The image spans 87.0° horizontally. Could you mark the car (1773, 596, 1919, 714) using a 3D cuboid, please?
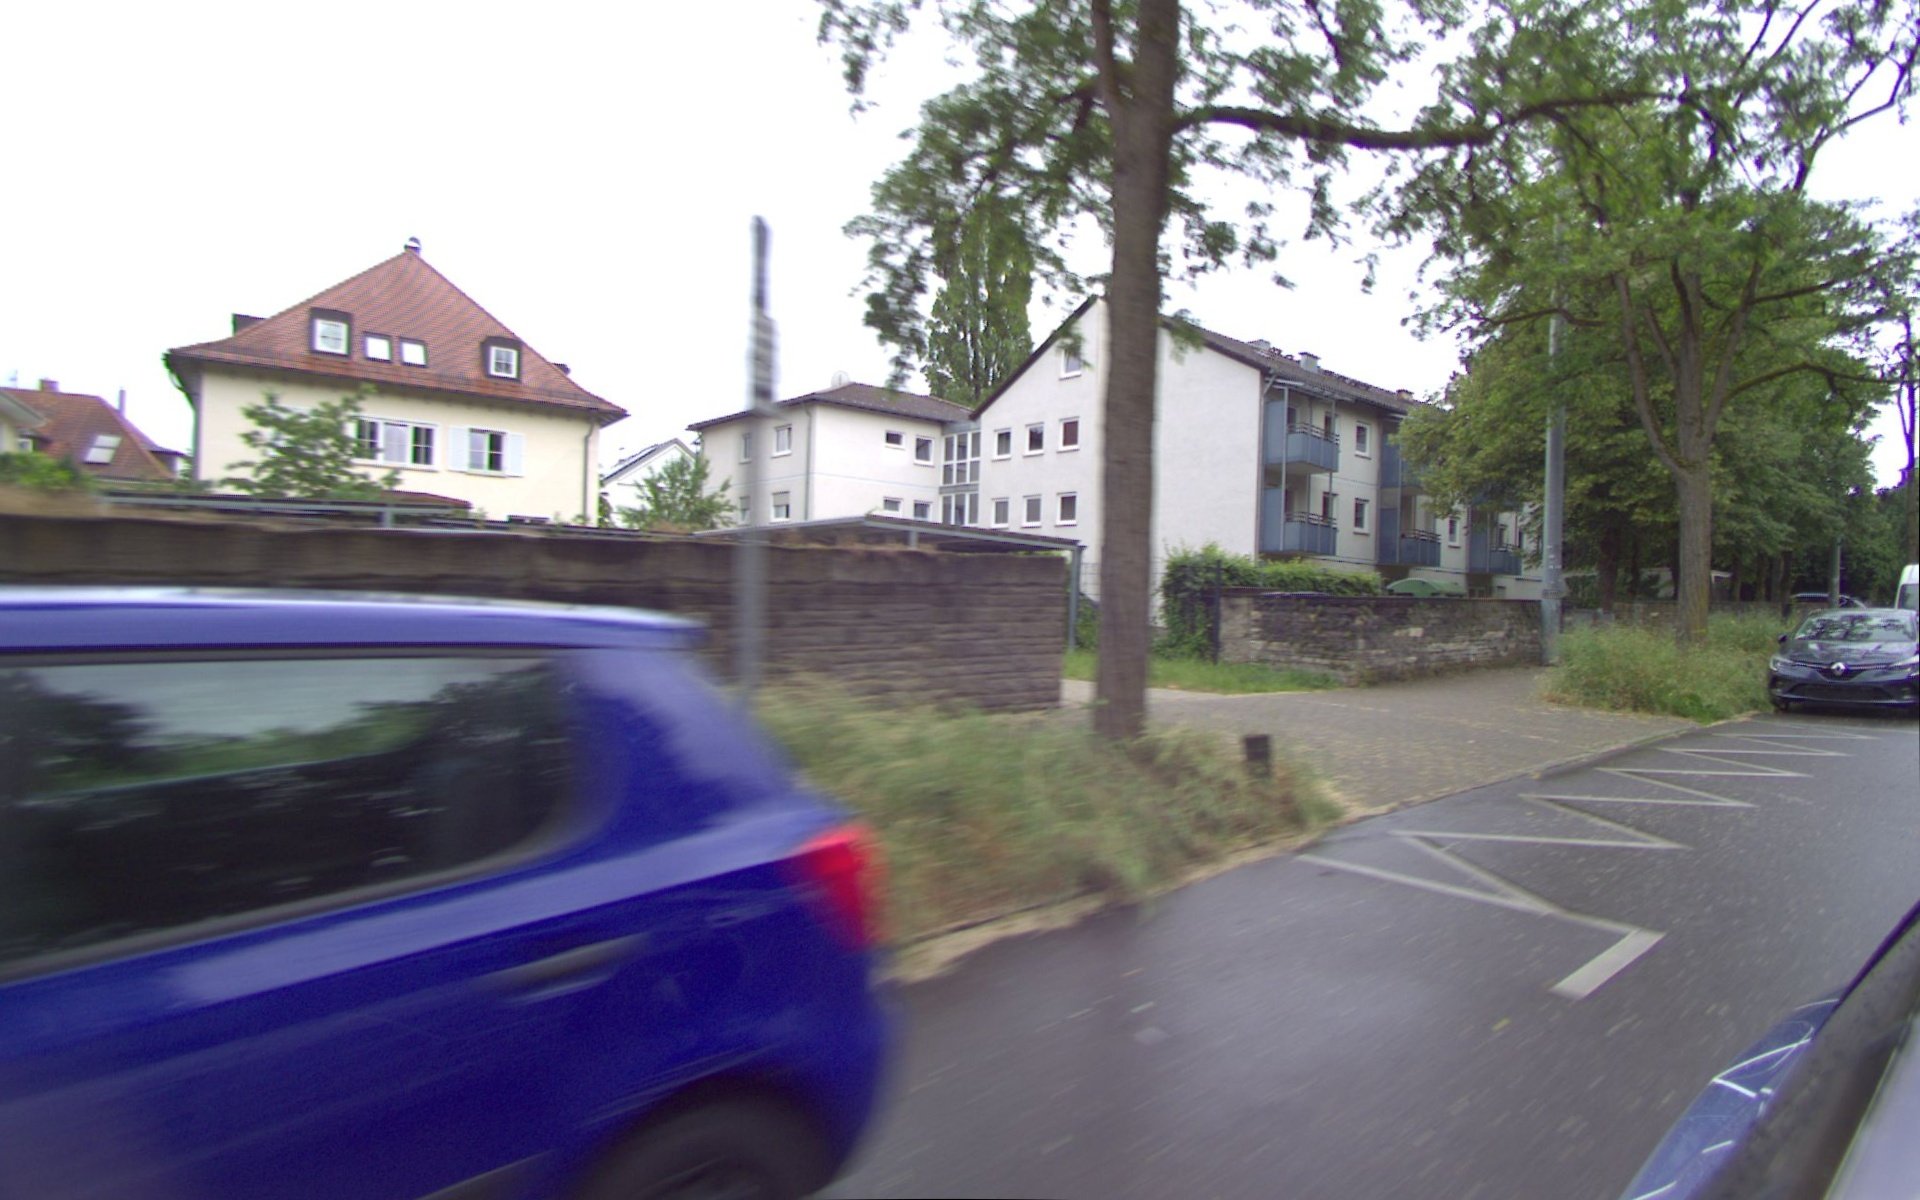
[{"bbox_3d":[13.142,0.724,14.530,3.896,1.498,1.742,1,-1,-43],"label":"car"}]

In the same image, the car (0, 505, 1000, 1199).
[{"bbox_3d":[-1.986,0.651,1.512,3.978,1.525,1.724,1,-1,-40],"label":"car"}]

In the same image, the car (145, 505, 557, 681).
[{"bbox_3d":[-7.457,-0.092,12.603,4.179,1.833,1.834,0,1,-40],"label":"car"}]

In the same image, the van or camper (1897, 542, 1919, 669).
[{"bbox_3d":[22.701,0.149,22.544,5.251,2.685,2.082,1,-1,-41],"label":"van or camper"}]

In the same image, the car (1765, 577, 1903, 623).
[{"bbox_3d":[38.695,-0.043,44.903,1.964,1.702,4.321,0,4,-39],"label":"car"}]
